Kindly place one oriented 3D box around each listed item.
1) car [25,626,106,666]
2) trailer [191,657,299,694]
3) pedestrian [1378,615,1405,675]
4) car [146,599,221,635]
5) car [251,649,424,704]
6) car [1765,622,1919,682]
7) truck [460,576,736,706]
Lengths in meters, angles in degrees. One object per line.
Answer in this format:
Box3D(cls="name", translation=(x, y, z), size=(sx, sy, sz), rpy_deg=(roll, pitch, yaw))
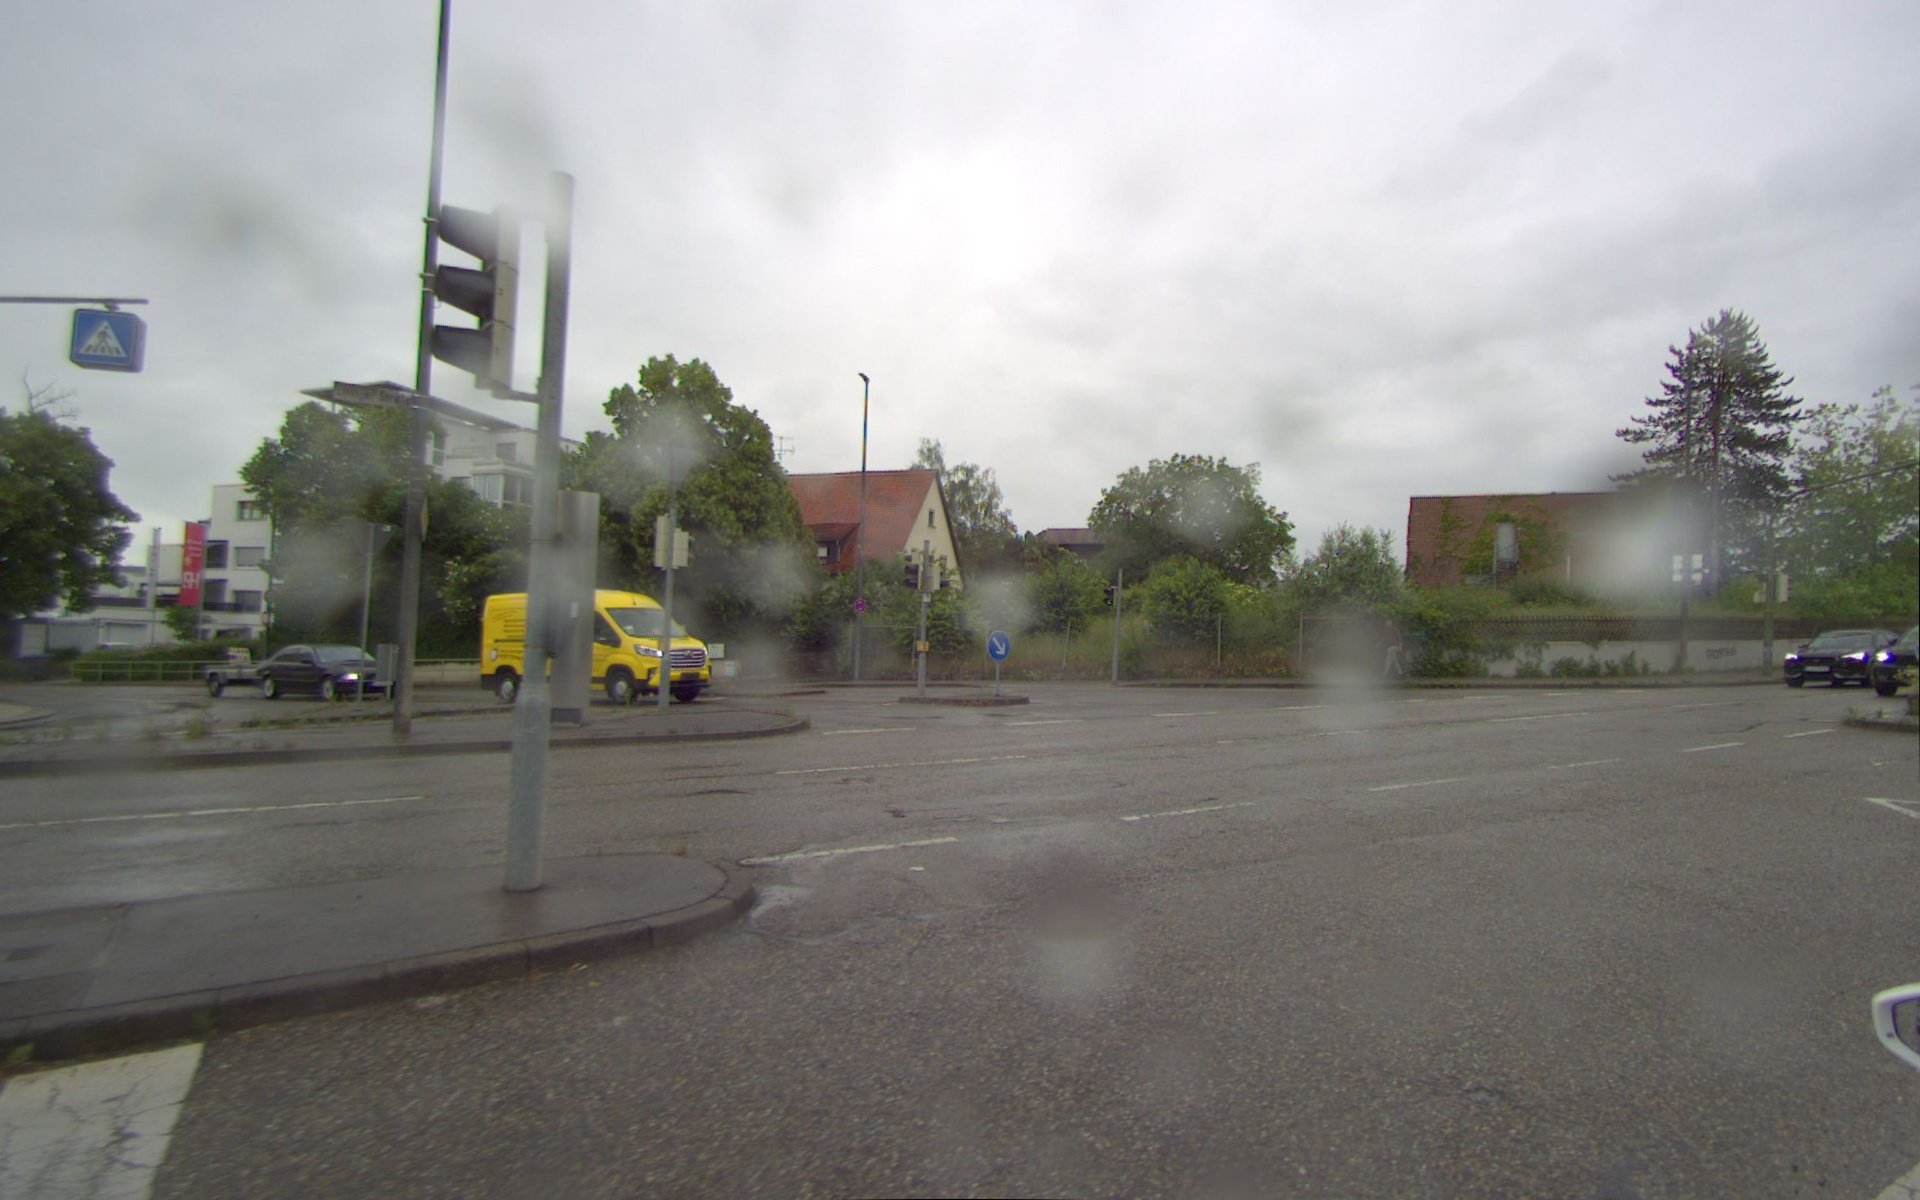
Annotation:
Box3D(cls="car", translation=(-51.069, 2.605, 57.352), size=(3.921, 2.040, 1.791), rpy_deg=(2, 0, 20))
Box3D(cls="trailer", translation=(-20.213, 2.112, 28.406), size=(2.244, 0.991, 1.607), rpy_deg=(-1, -4, 27))
Box3D(cls="pedestrian", translation=(12.203, 1.272, 28.420), size=(0.490, 1.663, 0.553), rpy_deg=(0, -2, 0))
Box3D(cls="car", translation=(-47.660, 1.031, 61.630), size=(3.921, 2.040, 1.791), rpy_deg=(2, 0, 20))
Box3D(cls="car", translation=(-16.227, 1.955, 26.163), size=(4.276, 1.335, 1.863), rpy_deg=(-1, -4, 27))
Box3D(cls="car", translation=(23.682, 1.409, 26.877), size=(4.246, 1.497, 1.941), rpy_deg=(2, -4, -30))
Box3D(cls="truck", translation=(-8.111, 0.940, 22.360), size=(6.062, 2.571, 2.226), rpy_deg=(-1, -3, 28))
